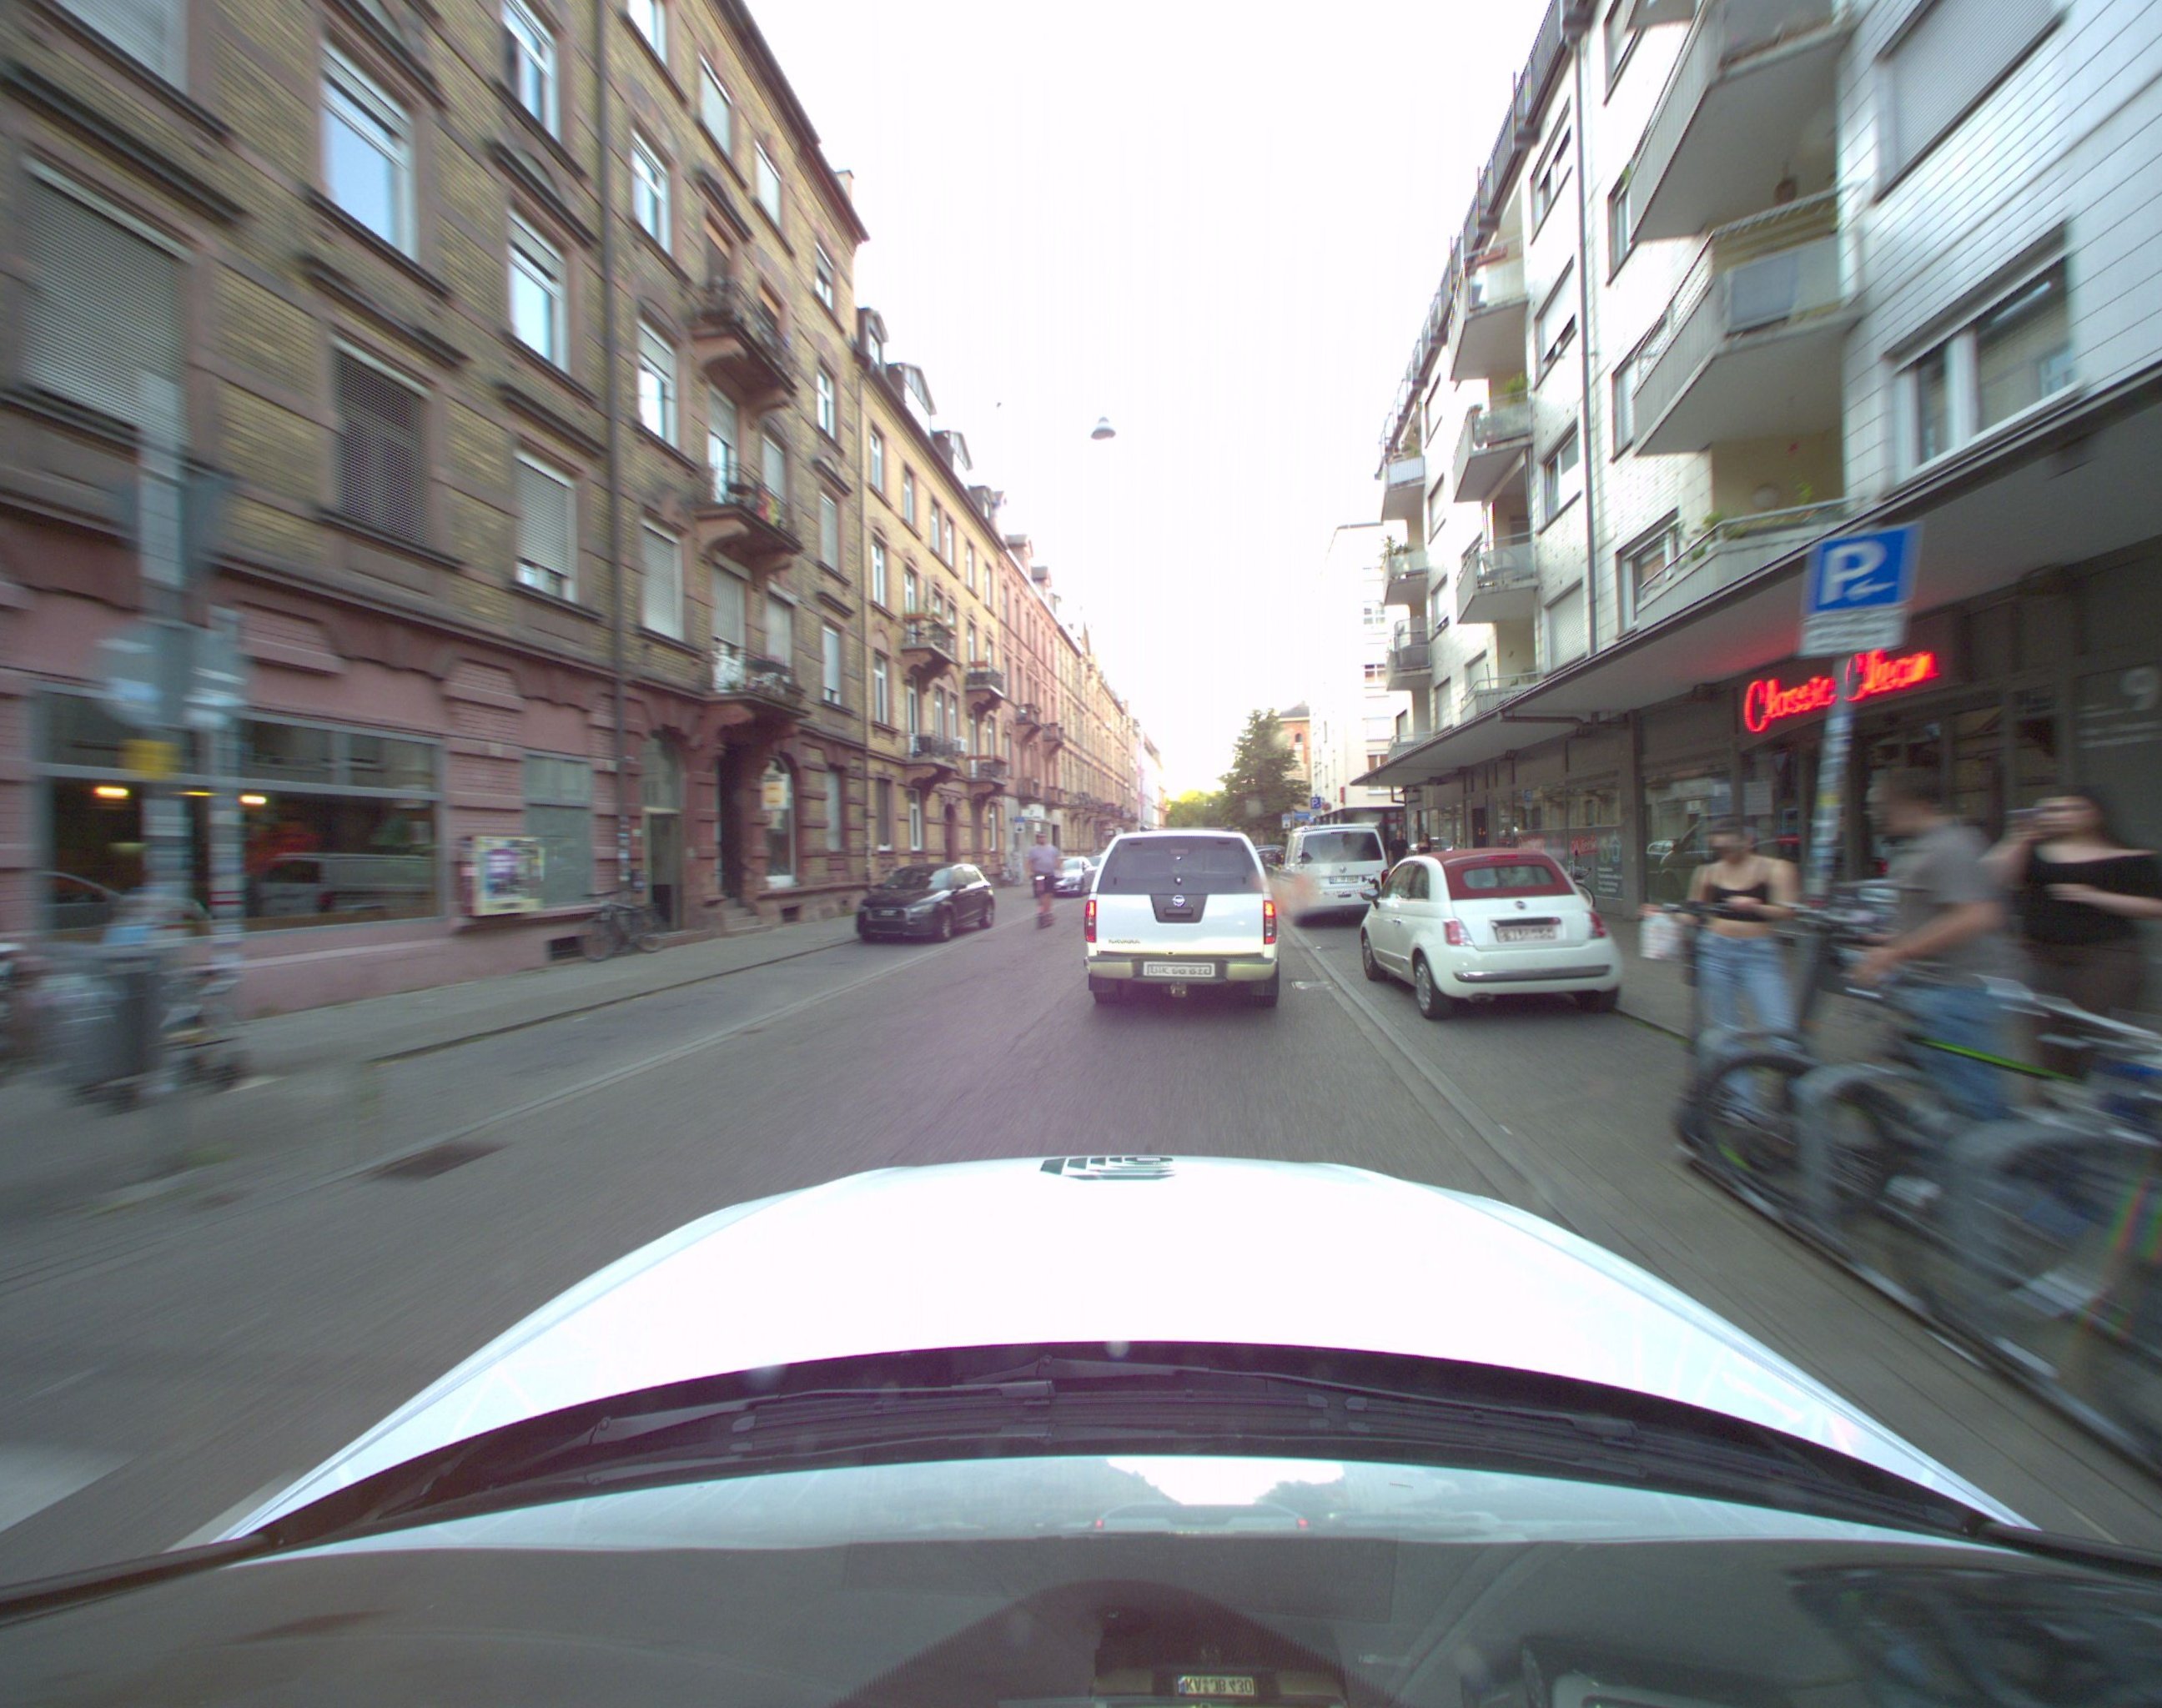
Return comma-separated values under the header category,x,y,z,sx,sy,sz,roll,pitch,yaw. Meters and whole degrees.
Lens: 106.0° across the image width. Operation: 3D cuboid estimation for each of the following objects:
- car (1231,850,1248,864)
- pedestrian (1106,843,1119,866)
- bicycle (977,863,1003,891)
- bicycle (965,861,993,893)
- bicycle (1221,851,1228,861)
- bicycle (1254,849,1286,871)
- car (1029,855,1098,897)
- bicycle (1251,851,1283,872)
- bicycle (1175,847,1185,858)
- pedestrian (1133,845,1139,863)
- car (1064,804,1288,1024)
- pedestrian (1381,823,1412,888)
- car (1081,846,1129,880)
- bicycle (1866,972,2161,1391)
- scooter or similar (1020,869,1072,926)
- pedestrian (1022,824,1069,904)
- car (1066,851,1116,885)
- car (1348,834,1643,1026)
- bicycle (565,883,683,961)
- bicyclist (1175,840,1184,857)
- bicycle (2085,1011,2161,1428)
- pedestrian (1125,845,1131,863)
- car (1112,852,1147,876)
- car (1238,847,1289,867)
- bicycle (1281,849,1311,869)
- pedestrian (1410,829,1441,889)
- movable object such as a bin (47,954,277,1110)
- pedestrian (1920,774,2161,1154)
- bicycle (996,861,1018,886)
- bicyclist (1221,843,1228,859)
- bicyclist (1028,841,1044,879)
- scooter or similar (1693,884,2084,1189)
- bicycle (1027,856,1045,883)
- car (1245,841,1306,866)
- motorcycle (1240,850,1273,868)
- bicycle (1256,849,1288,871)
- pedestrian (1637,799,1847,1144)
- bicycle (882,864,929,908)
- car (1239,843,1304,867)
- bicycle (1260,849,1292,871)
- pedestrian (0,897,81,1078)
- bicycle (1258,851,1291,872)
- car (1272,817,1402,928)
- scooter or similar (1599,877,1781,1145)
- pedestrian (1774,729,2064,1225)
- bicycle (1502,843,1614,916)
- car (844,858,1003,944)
category,x,y,z,sx,sy,sz,roll,pitch,yaw
car,18.043,0.325,92.798,1.666,1.429,4.491,-6,-1,10
pedestrian,2.407,0.053,62.178,0.549,1.755,1.028,-1,-1,26
bicycle,-3.623,0.897,32.510,0.545,1.037,1.765,1,1,10
bicycle,-3.872,0.862,31.126,0.545,1.123,1.765,1,1,10
bicycle,15.798,0.202,89.616,0.641,1.081,1.836,-3,0,8
bicycle,11.926,0.384,51.293,1.855,1.182,0.746,-6,-2,14
car,-0.546,0.770,30.174,1.712,1.420,4.594,0,0,10
bicycle,10.848,0.439,47.612,1.713,1.118,0.708,-4,-1,7
bicycle,9.758,-0.152,80.282,0.642,1.081,2.168,-3,0,0
pedestrian,5.455,0.012,80.544,0.602,1.772,0.778,1,1,6
car,1.317,0.503,9.634,1.898,1.853,5.287,-1,0,11
pedestrian,9.126,0.046,23.599,0.702,1.828,0.865,-3,-2,20
car,1.284,0.419,41.943,1.842,1.633,4.458,-1,1,10
bicycle,3.261,0.861,2.242,1.467,1.002,0.513,-4,-2,16
scooter or similar,-0.729,0.908,17.305,0.802,1.104,1.175,-2,0,10
pedestrian,-0.741,0.212,17.399,0.802,1.660,0.674,-2,0,10
car,0.498,0.598,36.435,1.575,1.420,3.707,-1,0,10
car,3.961,0.631,8.423,1.584,1.501,3.431,-4,0,7
bicycle,-7.119,1.026,12.797,0.422,1.053,1.905,-1,0,13
bicyclist,9.732,-0.569,80.295,0.643,1.621,0.918,-3,0,0
bicycle,3.270,0.855,1.746,1.410,0.984,0.511,-3,-2,6
pedestrian,4.648,0.009,80.503,0.577,1.771,0.999,1,1,6
car,3.141,0.589,52.237,1.747,1.412,4.521,-1,1,10
car,15.207,0.232,68.120,3.965,1.456,1.832,-3,0,7
bicycle,12.894,0.306,48.875,1.710,1.118,0.656,-4,-1,12
pedestrian,9.803,0.147,23.190,0.702,1.665,0.748,-4,-2,20
movable object such as a bin,-6.275,1.185,5.603,0.757,0.916,0.731,-1,-1,6
pedestrian,4.711,0.464,3.929,0.563,1.631,0.721,-4,0,-25
bicycle,-3.259,0.852,35.849,0.446,1.022,1.853,2,1,10
bicyclist,15.786,-0.361,89.709,0.641,1.760,0.649,-3,0,8
bicyclist,-2.080,0.276,37.546,0.707,1.730,0.841,-1,-1,-6
scooter or similar,3.513,0.766,3.609,1.155,1.171,0.537,-3,1,2
bicycle,-2.073,0.720,37.507,0.707,1.196,1.738,-1,-1,-6
car,14.951,-0.052,62.911,4.373,1.647,1.751,-4,0,9
motorcycle,12.128,0.338,56.393,2.055,1.078,0.662,-4,-1,-6
bicycle,11.849,0.371,50.449,1.773,1.182,0.737,-6,-2,20
pedestrian,3.410,0.545,4.217,0.649,1.600,0.586,-3,-1,-31
bicycle,-5.101,0.907,23.767,0.523,1.171,2.055,0,1,13
car,14.071,0.065,60.245,4.404,1.455,1.781,-4,0,3
bicycle,11.191,0.347,46.683,1.710,1.118,0.709,-4,-1,12
pedestrian,-8.021,0.965,5.809,0.647,1.254,0.907,1,1,-6
bicycle,11.465,0.433,48.314,1.799,1.118,0.708,-4,-1,7
car,5.341,0.325,17.648,1.946,1.973,5.017,-4,0,10
scooter or similar,3.324,0.758,4.416,1.170,1.171,0.531,-4,2,-41
pedestrian,3.453,0.430,3.367,0.741,1.756,0.656,-3,-1,-36
bicycle,8.685,0.457,14.935,0.908,1.196,1.709,-4,-1,-4
car,-2.960,0.837,16.211,1.682,1.420,3.868,-1,0,12
